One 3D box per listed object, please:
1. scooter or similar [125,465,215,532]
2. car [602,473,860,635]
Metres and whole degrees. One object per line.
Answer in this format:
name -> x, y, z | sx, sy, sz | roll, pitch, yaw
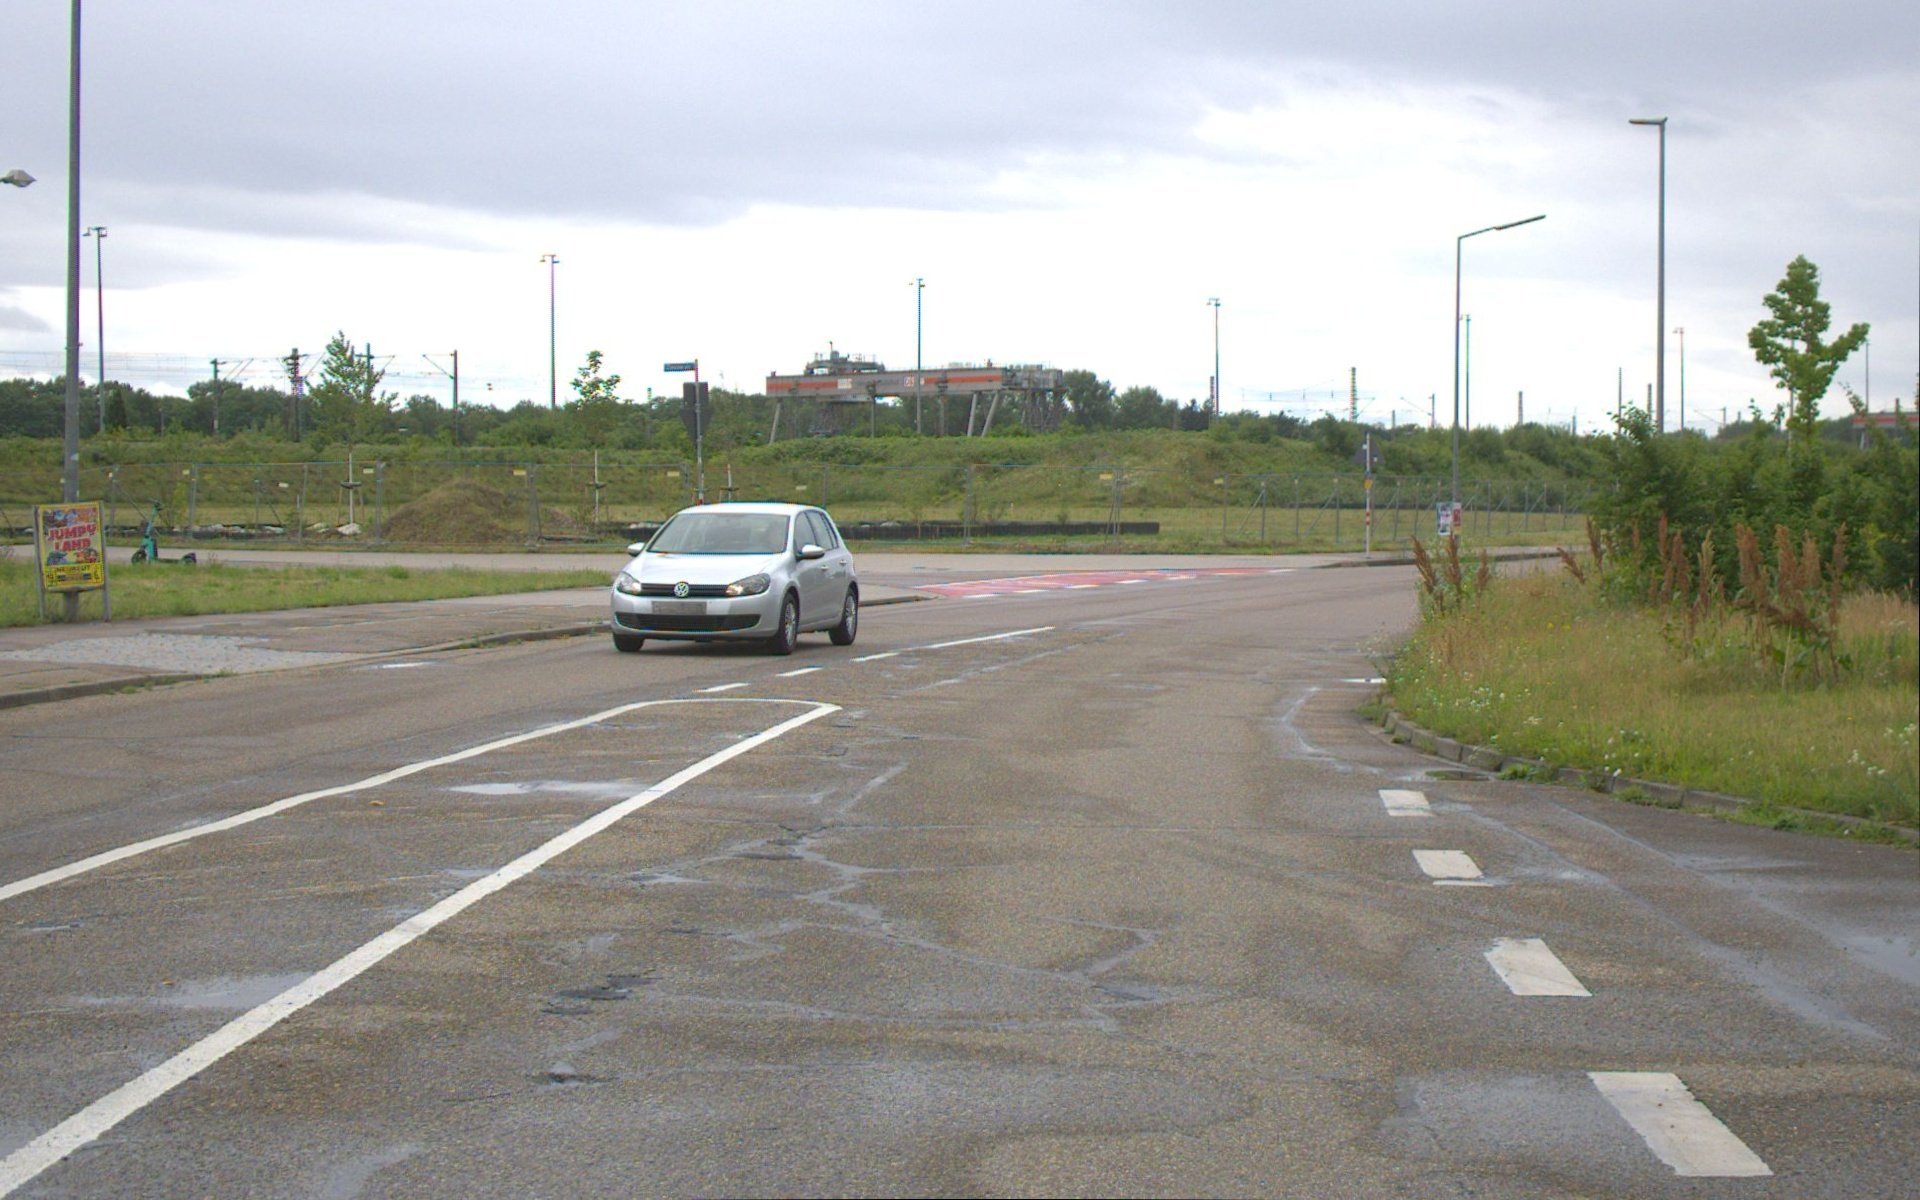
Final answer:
scooter or similar -> -14.339, -1.844, 62.400 | 1.463, 1.164, 0.571 | 2, 2, 10
car -> -2.232, -0.512, 34.581 | 1.672, 1.456, 4.055 | 3, 2, 9
